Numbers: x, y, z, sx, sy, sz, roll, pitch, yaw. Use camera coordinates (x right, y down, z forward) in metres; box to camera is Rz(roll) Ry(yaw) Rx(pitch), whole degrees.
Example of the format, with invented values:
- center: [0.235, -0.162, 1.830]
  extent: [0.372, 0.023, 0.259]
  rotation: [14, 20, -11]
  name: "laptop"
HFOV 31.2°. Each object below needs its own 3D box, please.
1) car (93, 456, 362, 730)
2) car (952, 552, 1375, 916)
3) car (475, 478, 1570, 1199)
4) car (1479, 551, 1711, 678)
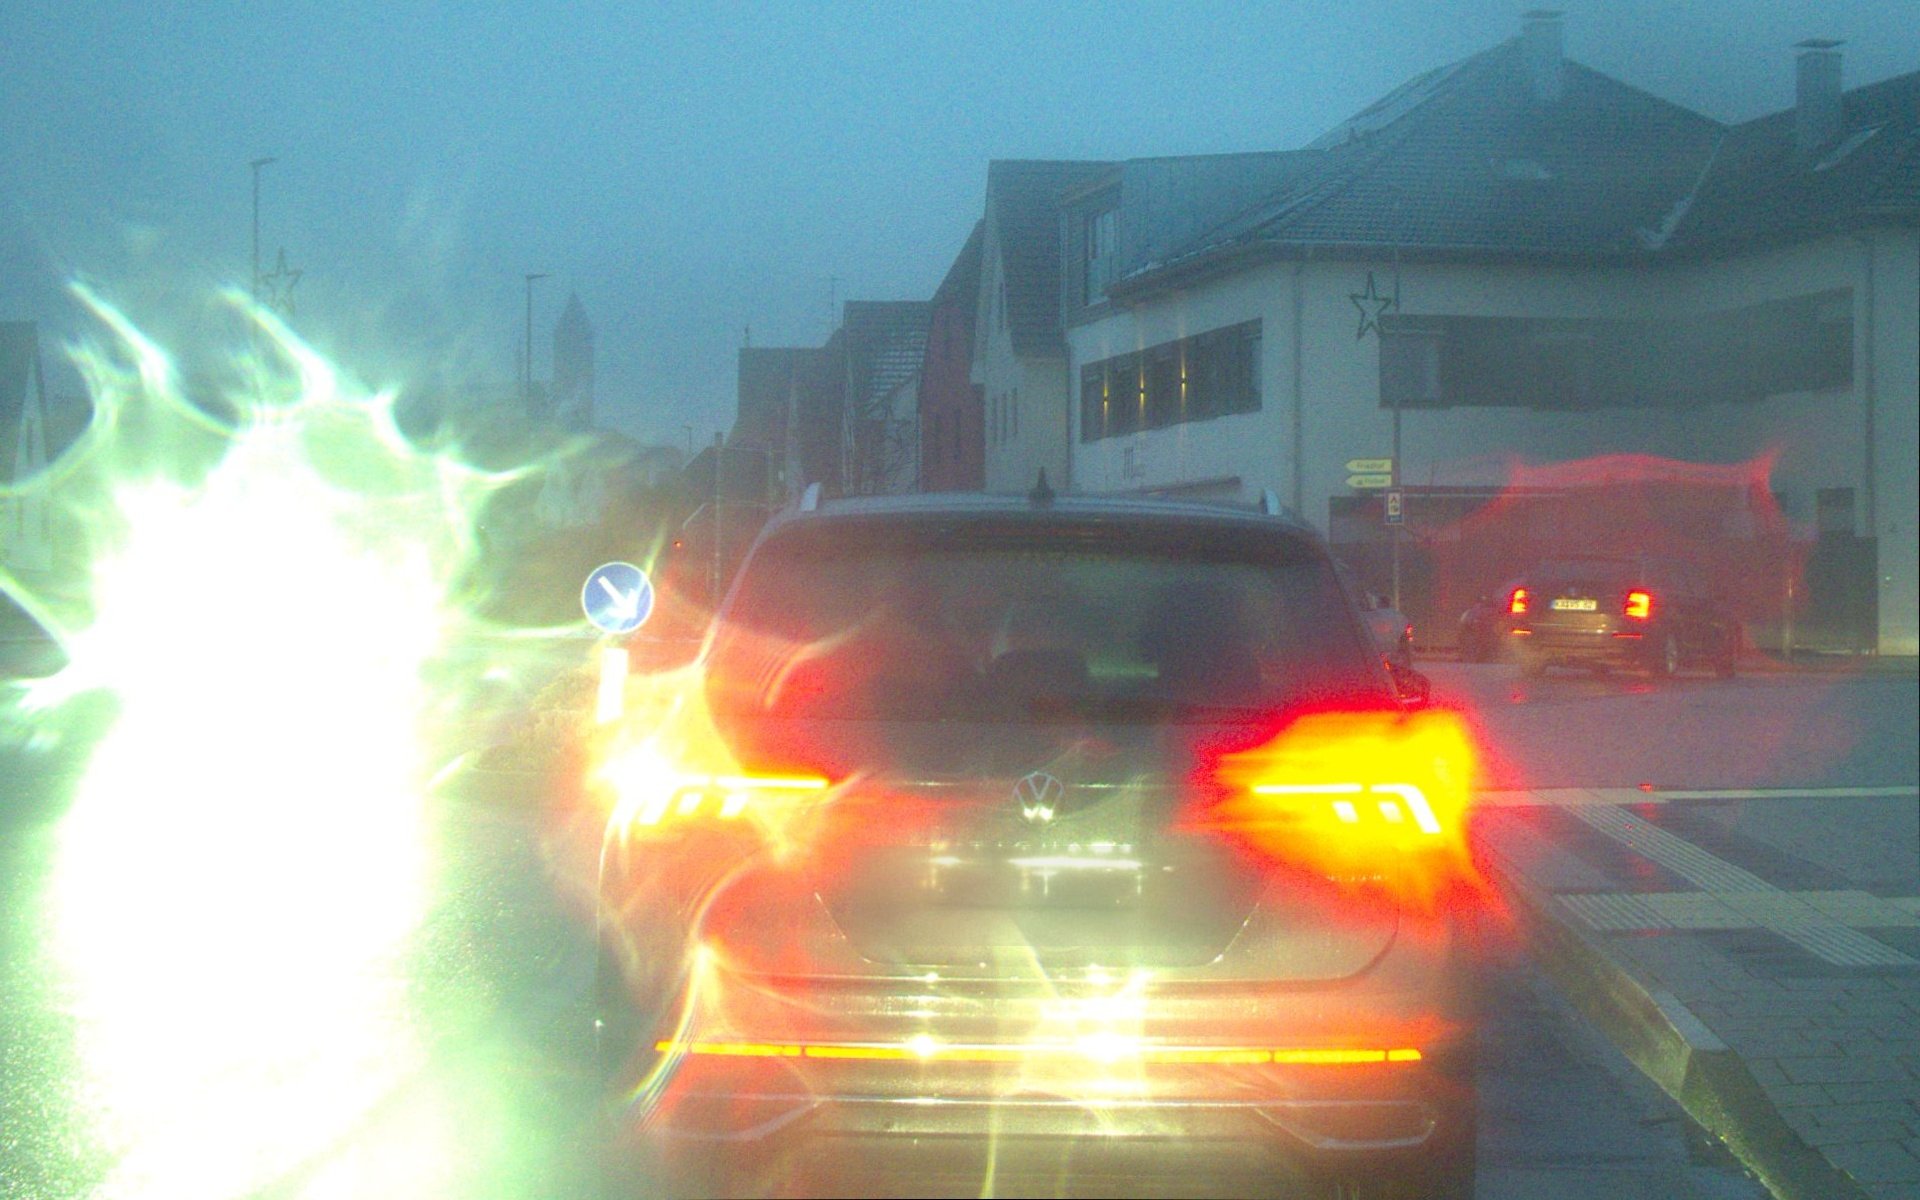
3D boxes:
- center: [-6.439, -0.058, 30.655]
  extent: [1.993, 2.196, 4.419]
  rotation: [2, 0, -8]
  name: "car"
- center: [0.836, 0.525, 16.189]
  extent: [1.682, 1.448, 4.000]
  rotation: [1, 1, -1]
  name: "car"
- center: [0.088, 0.556, 8.428]
  extent: [1.964, 1.589, 4.313]
  rotation: [1, 1, -1]
  name: "car"
- center: [7.416, 0.173, 39.869]
  extent: [1.995, 1.387, 3.996]
  rotation: [0, 0, 20]
  name: "car"
